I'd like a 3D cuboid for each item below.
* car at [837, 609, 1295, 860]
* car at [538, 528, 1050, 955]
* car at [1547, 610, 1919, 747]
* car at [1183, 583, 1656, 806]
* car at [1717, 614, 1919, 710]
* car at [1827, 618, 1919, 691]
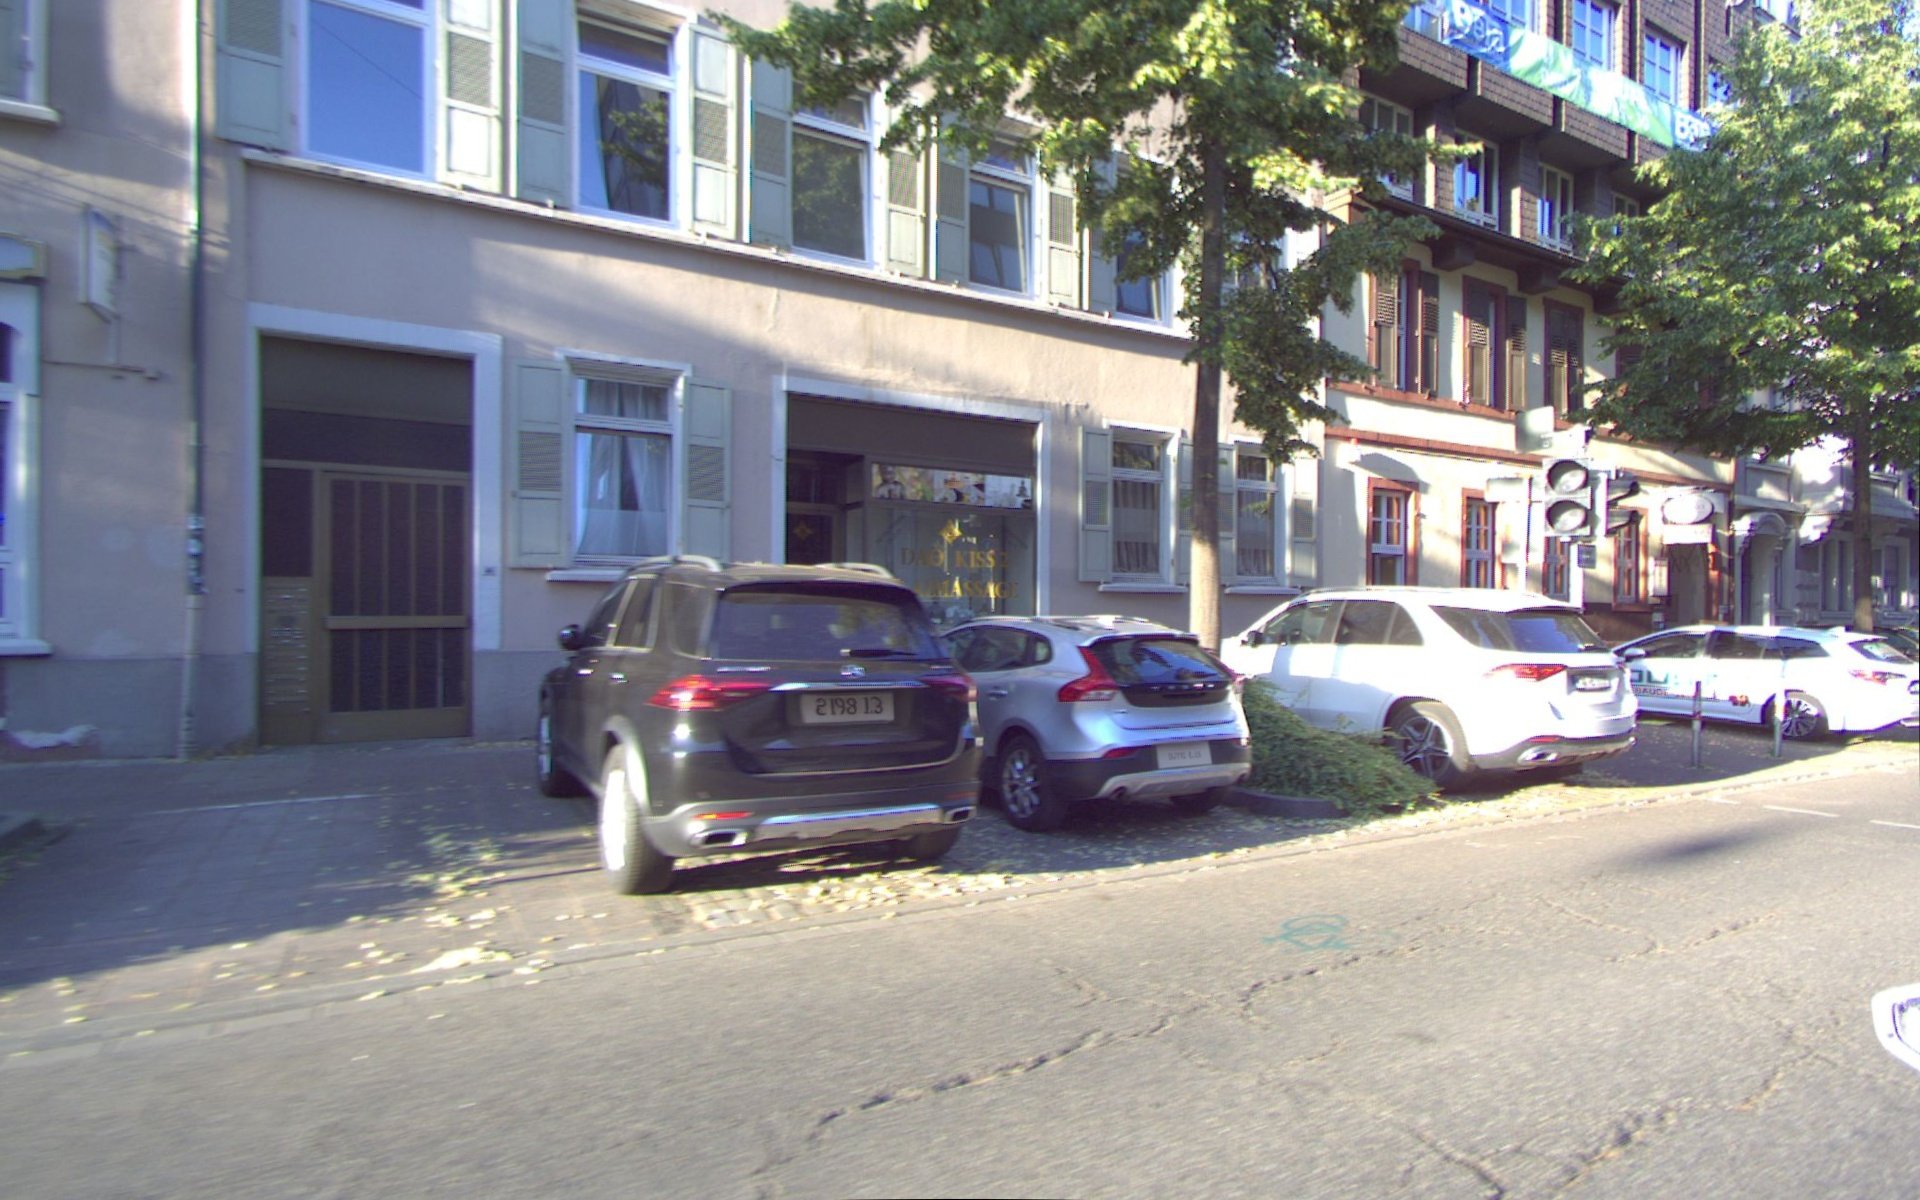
[{"bbox_3d":[0.589,0.847,8.386,1.809,1.463,4.013,0,1,-30],"label":"car"},{"bbox_3d":[-1.487,0.599,6.799,2.009,1.859,4.428,1,0,-30],"label":"car"},{"bbox_3d":[11.009,0.973,14.292,1.976,1.527,4.155,1,1,-30],"label":"car"},{"bbox_3d":[4.260,0.713,9.977,1.811,1.731,3.971,0,1,-30],"label":"car"},{"bbox_3d":[17.007,1.100,18.564,1.976,1.621,4.406,1,0,-30],"label":"car"},{"bbox_3d":[21.300,1.168,21.022,1.976,1.523,4.406,1,0,-30],"label":"car"}]
